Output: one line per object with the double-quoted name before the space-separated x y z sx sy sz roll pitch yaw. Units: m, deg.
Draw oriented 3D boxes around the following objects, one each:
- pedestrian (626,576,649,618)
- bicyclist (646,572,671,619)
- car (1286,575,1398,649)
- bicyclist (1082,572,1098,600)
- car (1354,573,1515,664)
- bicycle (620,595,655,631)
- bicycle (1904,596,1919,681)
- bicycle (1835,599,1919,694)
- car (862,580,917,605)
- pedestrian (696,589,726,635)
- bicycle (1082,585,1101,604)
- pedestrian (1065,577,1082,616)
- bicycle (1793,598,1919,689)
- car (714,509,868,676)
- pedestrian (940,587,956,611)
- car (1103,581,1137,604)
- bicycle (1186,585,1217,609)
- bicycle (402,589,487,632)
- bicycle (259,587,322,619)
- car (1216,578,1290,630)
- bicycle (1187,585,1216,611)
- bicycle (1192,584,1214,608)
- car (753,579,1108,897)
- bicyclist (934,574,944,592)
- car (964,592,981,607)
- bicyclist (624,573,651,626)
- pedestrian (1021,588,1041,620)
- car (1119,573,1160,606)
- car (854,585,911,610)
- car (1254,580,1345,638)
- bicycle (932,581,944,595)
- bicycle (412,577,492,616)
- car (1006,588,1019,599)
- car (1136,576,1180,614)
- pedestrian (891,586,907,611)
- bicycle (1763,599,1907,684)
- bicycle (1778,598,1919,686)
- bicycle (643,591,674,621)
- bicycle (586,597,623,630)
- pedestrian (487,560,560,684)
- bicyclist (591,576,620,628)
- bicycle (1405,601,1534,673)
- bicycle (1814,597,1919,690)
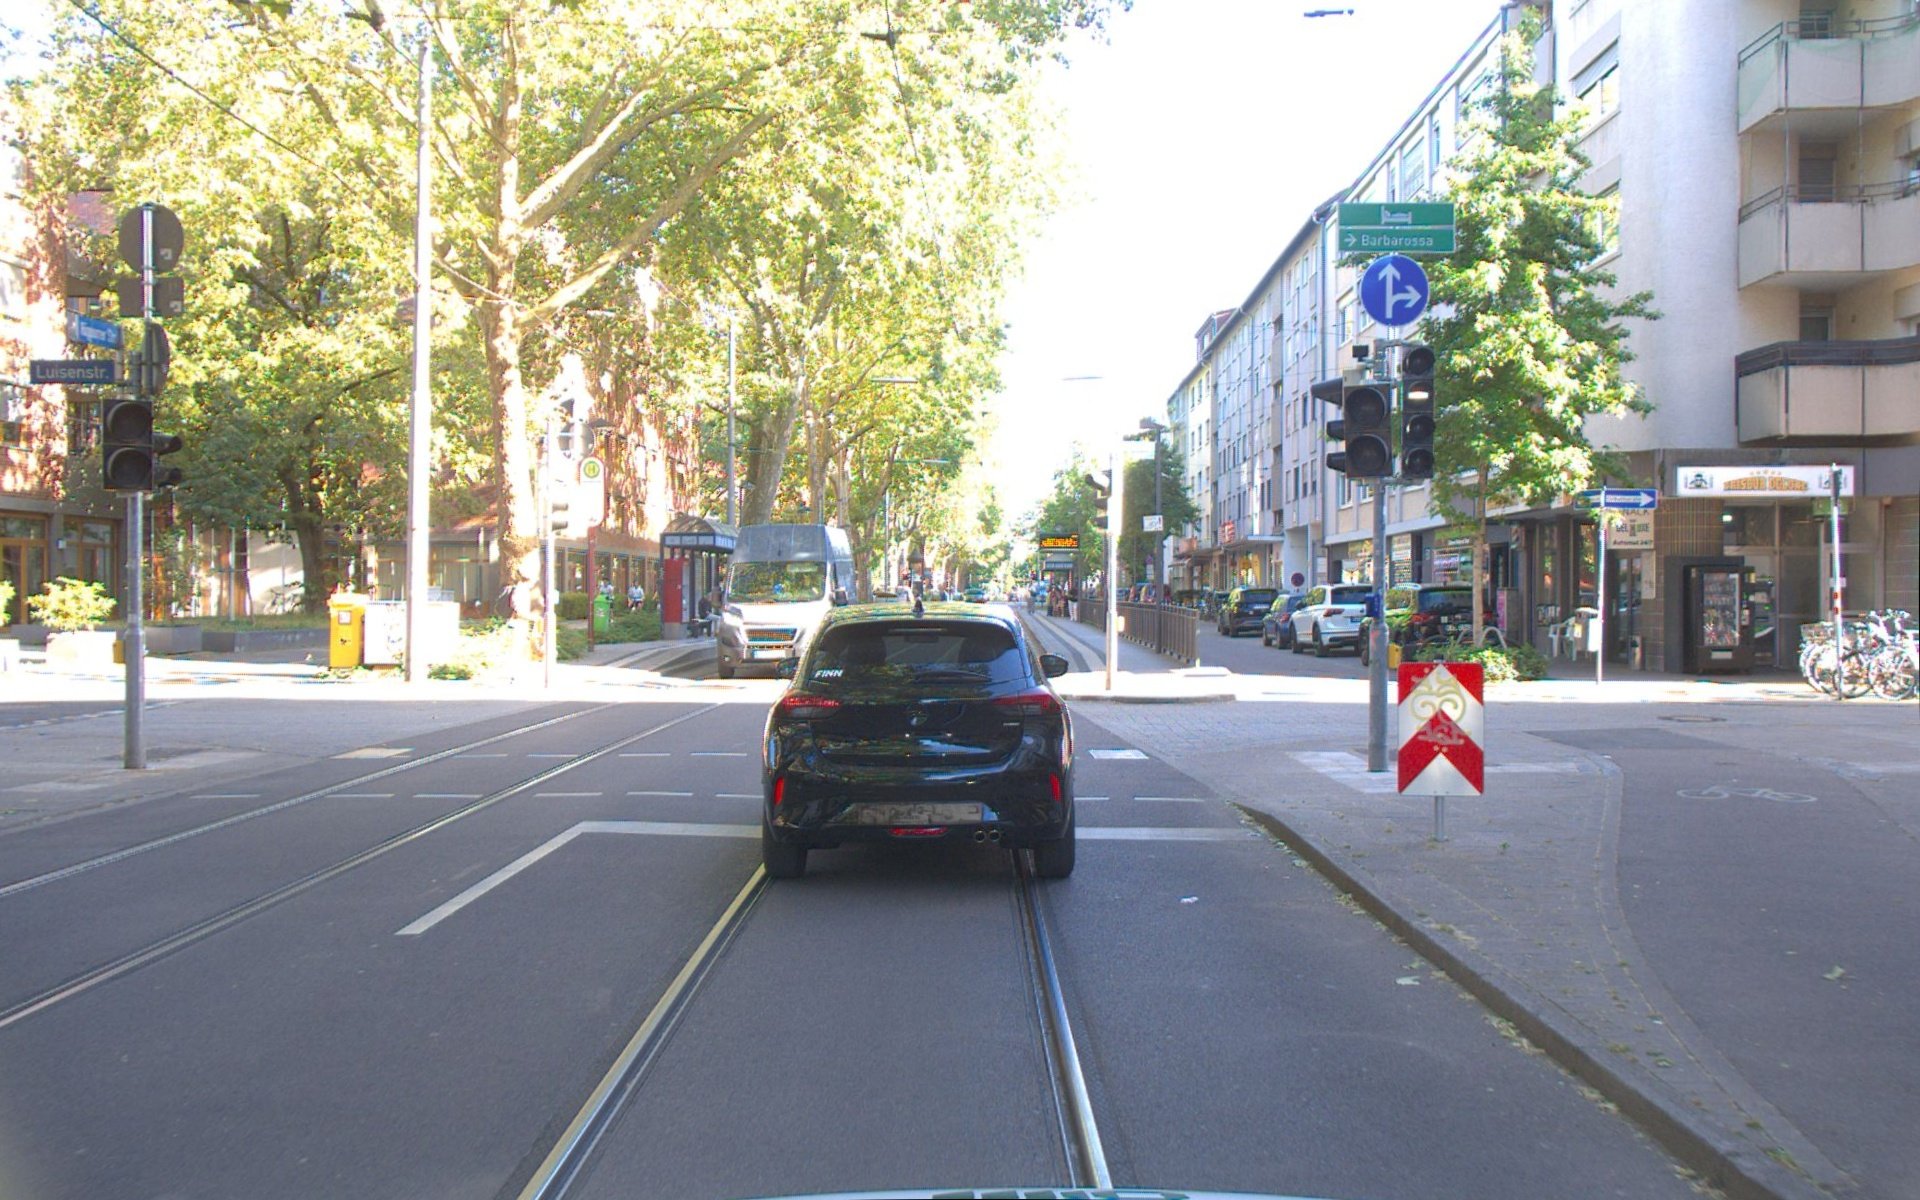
"pedestrian" -13.188 -0.129 67.687 0.720 1.701 0.861 1 0 1
"bicyclist" -11.559 -0.182 63.405 0.759 1.780 0.997 1 0 -1
"car" 9.031 0.277 39.447 1.762 1.634 4.416 1 0 2
"bicyclist" 8.346 -0.897 106.524 0.844 1.790 1.052 1 0 -5
"car" 9.139 0.337 32.236 1.952 1.644 4.446 0 0 2
"bicycle" -11.177 0.426 57.394 0.766 1.212 2.595 1 0 -1
"bicycle" 14.840 0.575 24.132 1.875 1.229 0.511 1 -1 -3
"bicycle" 12.805 0.611 22.196 1.875 1.228 0.511 -1 1 -3
"car" -5.616 -0.571 131.412 4.300 1.884 1.998 1 0 -6
"pedestrian" -6.569 0.313 43.612 0.691 1.189 0.659 -1 0 -2
"bicycle" 8.394 -0.360 105.859 0.844 1.156 2.394 1 0 -5
"pedestrian" 4.763 -0.169 69.423 0.617 1.603 0.871 2 0 1
"bicycle" 12.777 0.606 23.265 1.875 1.228 0.511 -1 1 -3
"car" -3.028 -0.126 31.000 2.070 2.786 6.116 -1 0 1
"pedestrian" -0.871 -0.057 121.141 1.141 1.779 0.957 1 0 -4
"car" 10.457 -0.479 108.481 1.952 1.512 4.001 1 0 2
"bicycle" 11.598 -0.137 79.472 0.600 1.156 2.915 1 0 -9
"bicycle" -16.145 0.332 51.841 2.407 1.240 0.682 2 0 2
"bicycle" -23.242 0.093 57.452 1.908 1.092 0.762 1 0 -15
"car" 9.748 0.139 55.325 1.818 1.644 4.398 1 0 2
"bicycle" 11.019 -0.076 75.538 0.610 1.156 2.434 1 0 -9
"bicycle" 11.904 -0.211 80.966 0.402 1.156 2.199 1 0 -9
"car" -0.162 0.676 9.934 1.724 1.534 3.682 -1 0 -1
"bicyclist" -2.029 -1.641 159.551 0.921 1.732 1.153 1 0 4
"car" 1.331 -0.088 175.218 1.709 1.571 4.000 1 0 0
"bicyclist" -11.164 -0.024 57.305 0.766 1.794 0.951 1 0 -1
"pedestrian" 3.800 0.213 88.602 0.737 1.739 0.760 0 0 36
"car" 10.414 -0.596 96.282 1.952 1.829 4.000 1 0 1
"car" -5.604 -0.181 119.536 4.034 1.730 1.881 1 0 -6
"car" 9.175 0.237 45.045 1.708 1.465 4.248 1 0 2
"bicycle" -2.115 -1.166 158.660 0.935 1.262 2.979 1 0 4
"bicycle" -16.015 -0.107 52.196 2.292 1.186 0.682 1 0 2
"car" 7.390 -0.927 233.208 1.709 1.571 4.000 1 0 0
"car" 10.744 -0.280 89.849 1.952 1.986 4.000 1 0 1
"pedestrian" -4.508 -0.099 122.222 1.141 1.779 0.957 1 0 -4
"bicycle" 12.885 0.606 24.373 1.875 1.229 0.511 1 0 -3
"bicycle" 12.834 0.597 23.821 1.875 1.229 0.511 -1 0 -3
"bicycle" -11.560 0.225 63.420 0.766 1.130 2.595 1 0 -1
"bicycle" -12.257 0.459 57.099 0.766 1.130 2.595 1 0 -1
"pedestrian" -6.774 0.331 25.714 0.905 1.867 0.920 1 2 -3
"bicyclist" -12.260 0.071 57.187 0.759 1.780 0.997 1 0 -1
"bicycle" 8.890 0.632 28.915 2.081 1.208 0.681 1 0 9
"bicycle" 12.787 0.591 22.731 1.875 1.228 0.511 -1 1 -3
